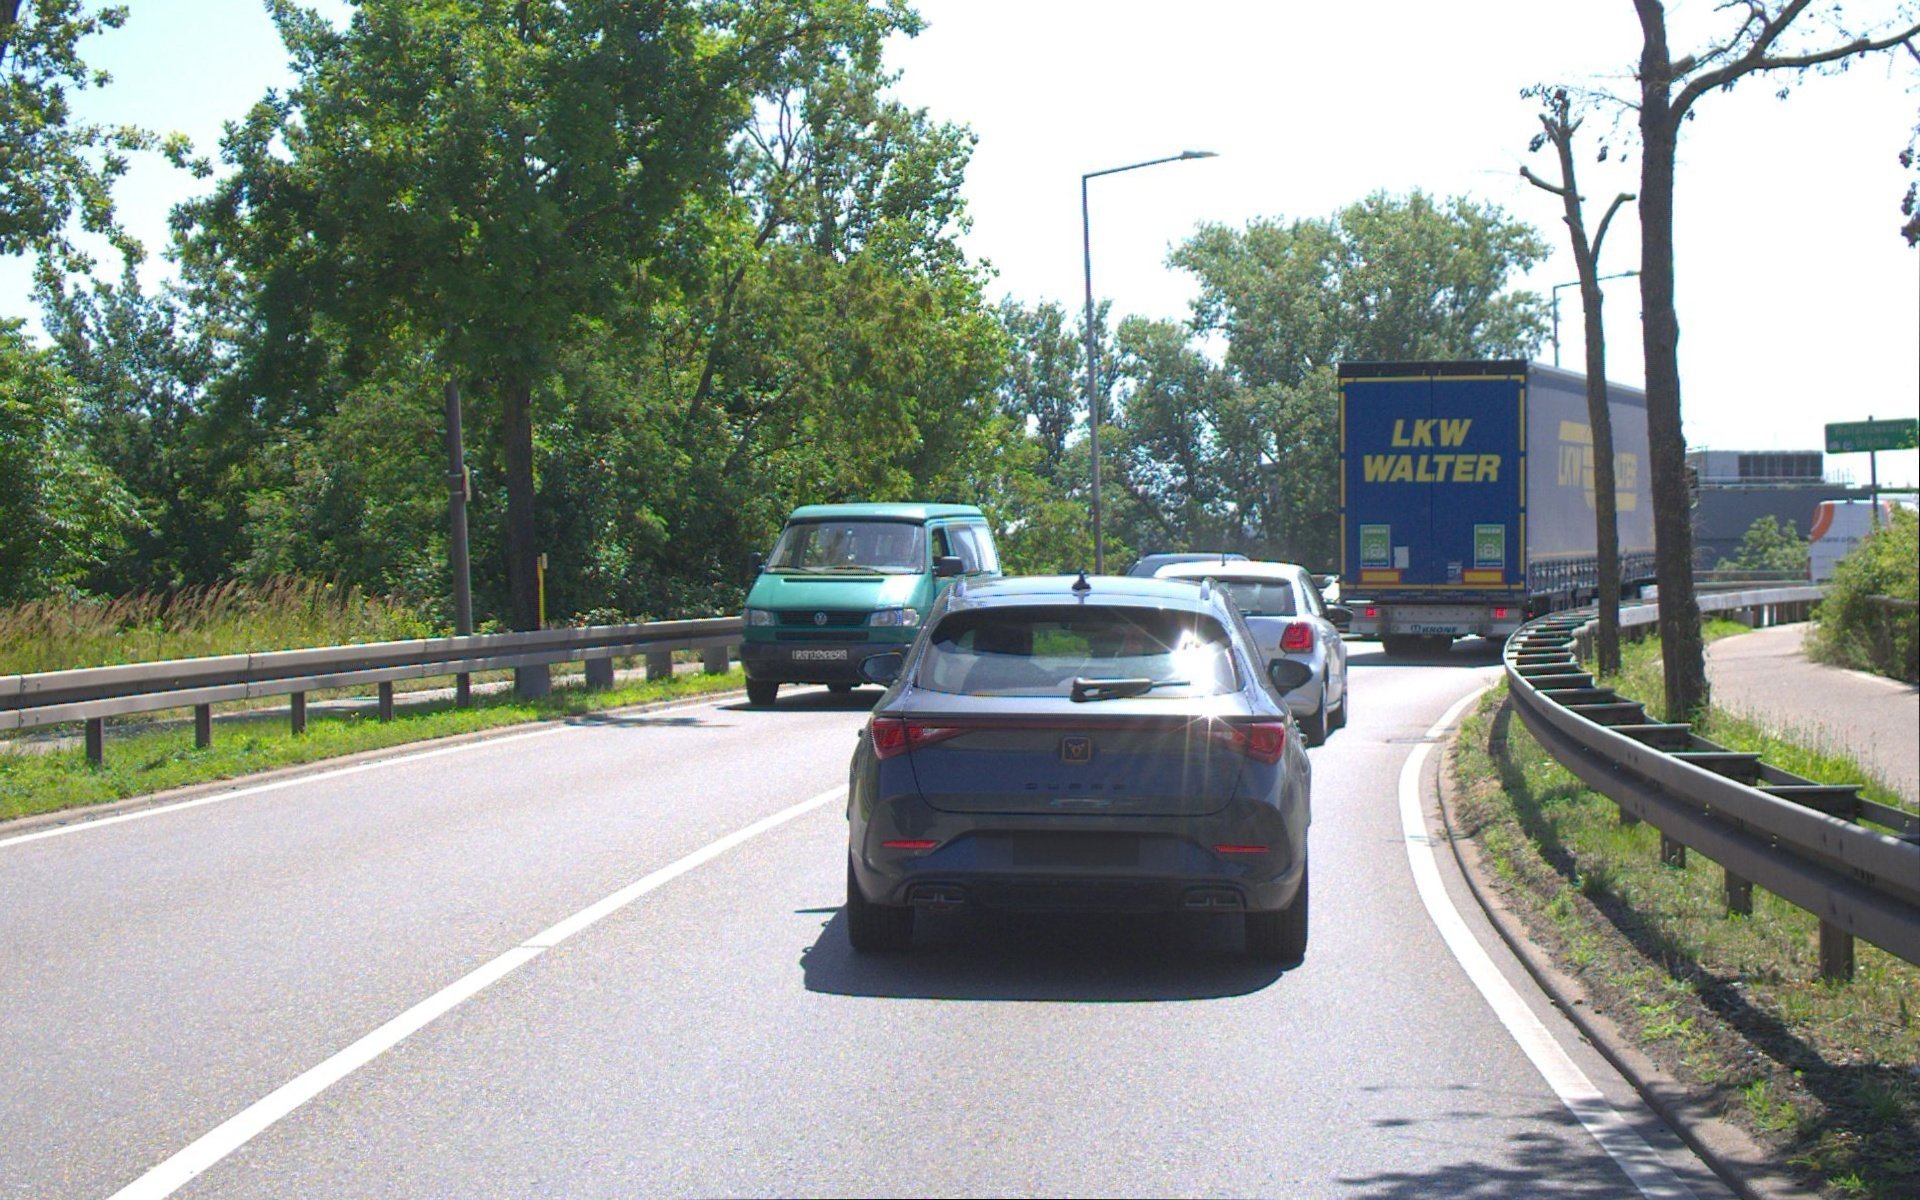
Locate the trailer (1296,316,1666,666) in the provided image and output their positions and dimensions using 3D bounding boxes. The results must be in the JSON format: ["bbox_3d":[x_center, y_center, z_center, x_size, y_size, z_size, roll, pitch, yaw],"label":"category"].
[{"bbox_3d":[8.157,-1.528,51.857,3.137,4.598,12.936,1,1,19],"label":"trailer"}]

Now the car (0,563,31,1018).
[{"bbox_3d":[-4.026,0.633,8.991,1.744,1.442,4.516,0,1,3],"label":"car"}]

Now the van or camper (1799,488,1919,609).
[{"bbox_3d":[21.125,-1.194,79.540,2.206,2.702,5.918,0,1,25],"label":"van or camper"}]

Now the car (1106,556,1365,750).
[{"bbox_3d":[2.314,0.378,28.148,1.594,1.456,3.543,1,1,13],"label":"car"}]

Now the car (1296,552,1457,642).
[{"bbox_3d":[7.085,-0.082,58.167,1.703,1.442,4.455,1,1,20],"label":"car"}]

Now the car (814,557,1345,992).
[{"bbox_3d":[0.439,0.586,13.842,1.845,1.493,3.758,0,1,1],"label":"car"}]

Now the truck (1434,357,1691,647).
[{"bbox_3d":[10.297,-1.576,58.110,3.173,4.569,7.390,1,0,18],"label":"truck"}]

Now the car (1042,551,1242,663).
[{"bbox_3d":[2.597,0.060,47.935,1.847,1.462,4.738,1,1,15],"label":"car"}]

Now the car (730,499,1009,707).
[{"bbox_3d":[-0.820,-0.013,34.504,1.831,1.932,4.774,0,1,11],"label":"car"}]
